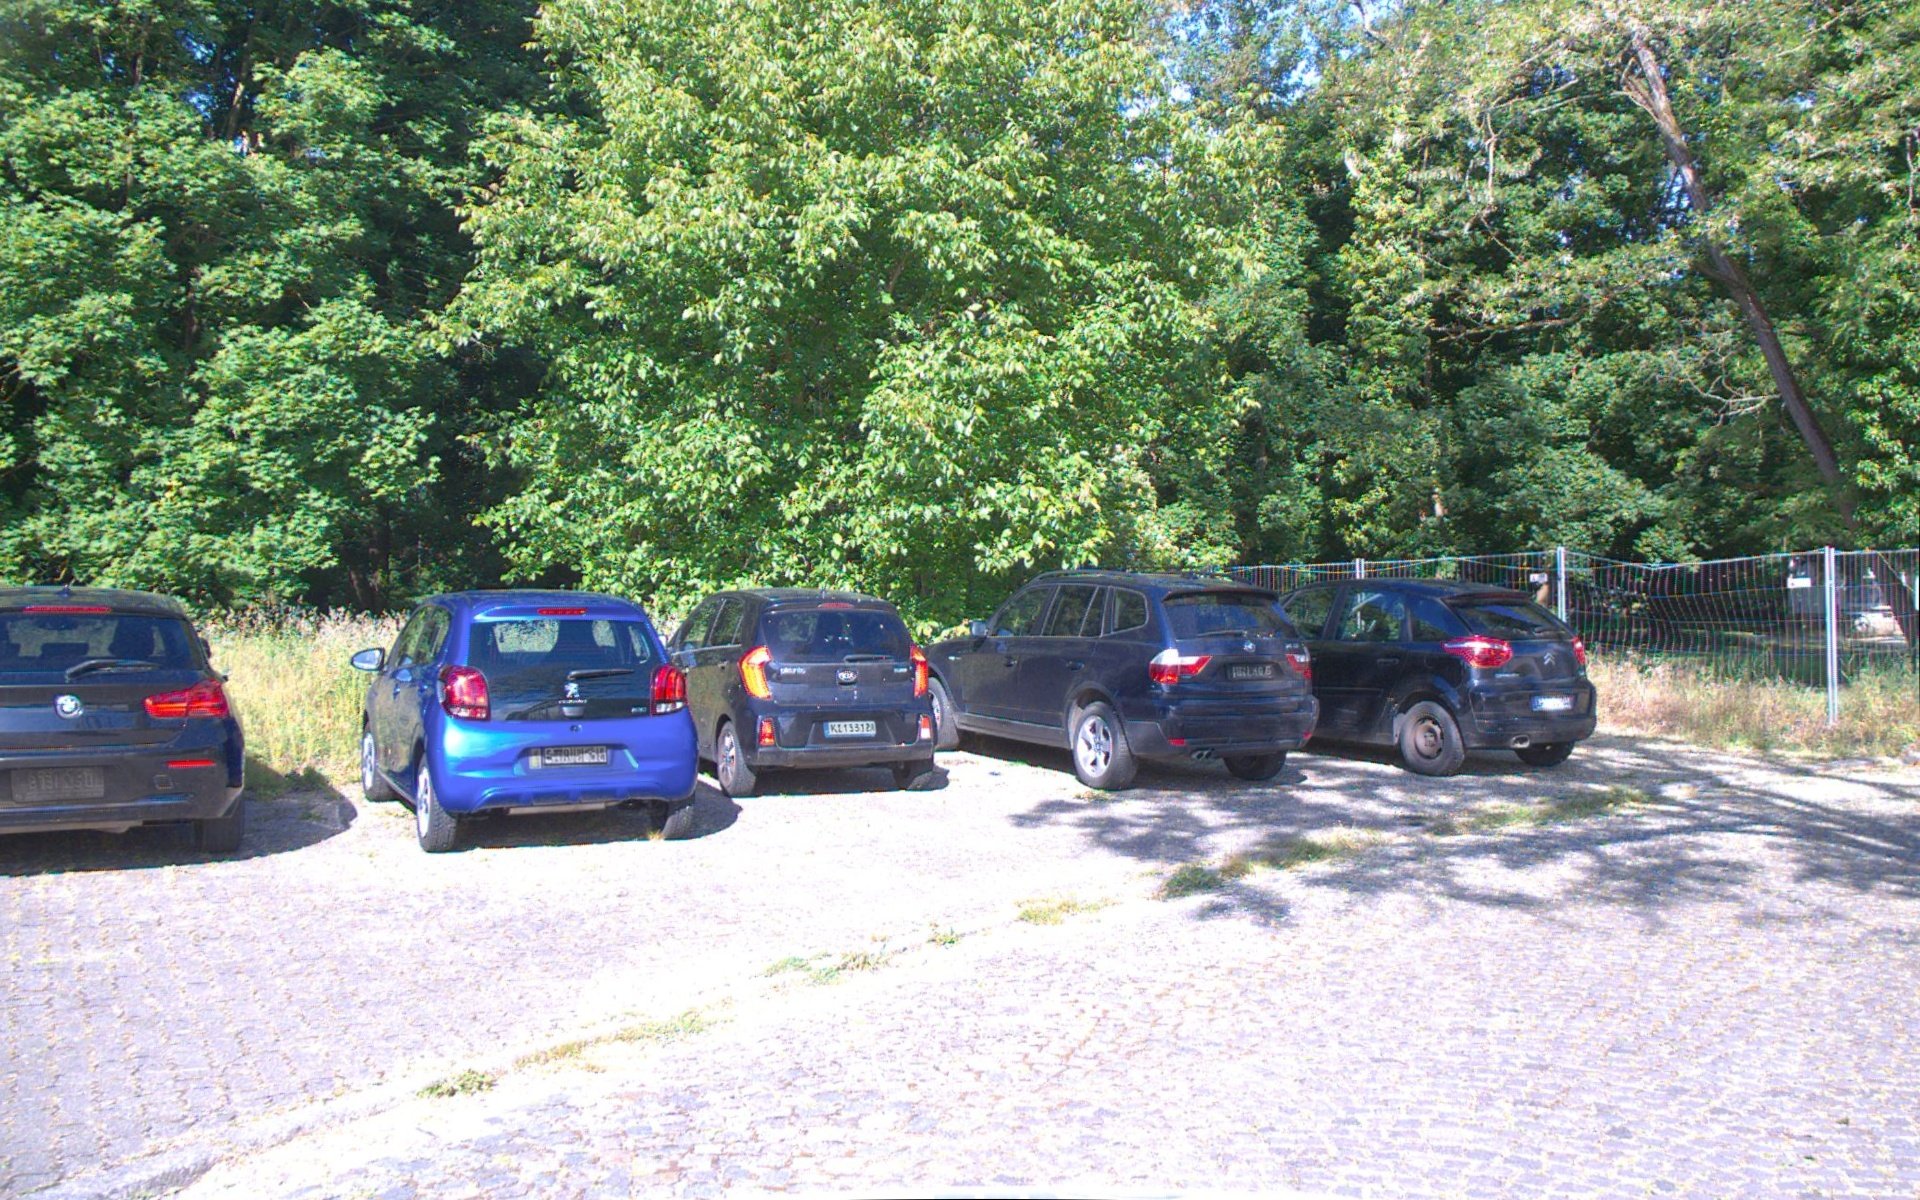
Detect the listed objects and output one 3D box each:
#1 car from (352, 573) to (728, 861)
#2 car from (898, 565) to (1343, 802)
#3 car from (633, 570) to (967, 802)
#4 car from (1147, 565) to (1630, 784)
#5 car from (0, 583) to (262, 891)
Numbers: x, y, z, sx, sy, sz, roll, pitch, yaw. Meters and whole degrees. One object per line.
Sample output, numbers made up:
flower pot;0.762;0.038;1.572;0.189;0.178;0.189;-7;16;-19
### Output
car;-2.920;0.615;10.937;1.688;1.519;3.633;1;1;-26
car;1.207;0.568;14.304;1.792;1.685;4.149;0;2;-30
car;-1.421;0.580;13.321;1.651;1.542;3.526;1;1;-24
car;3.884;0.567;15.657;1.774;1.680;4.244;0;2;-37
car;-5.228;0.642;9.638;1.808;1.476;3.629;0;0;-29
